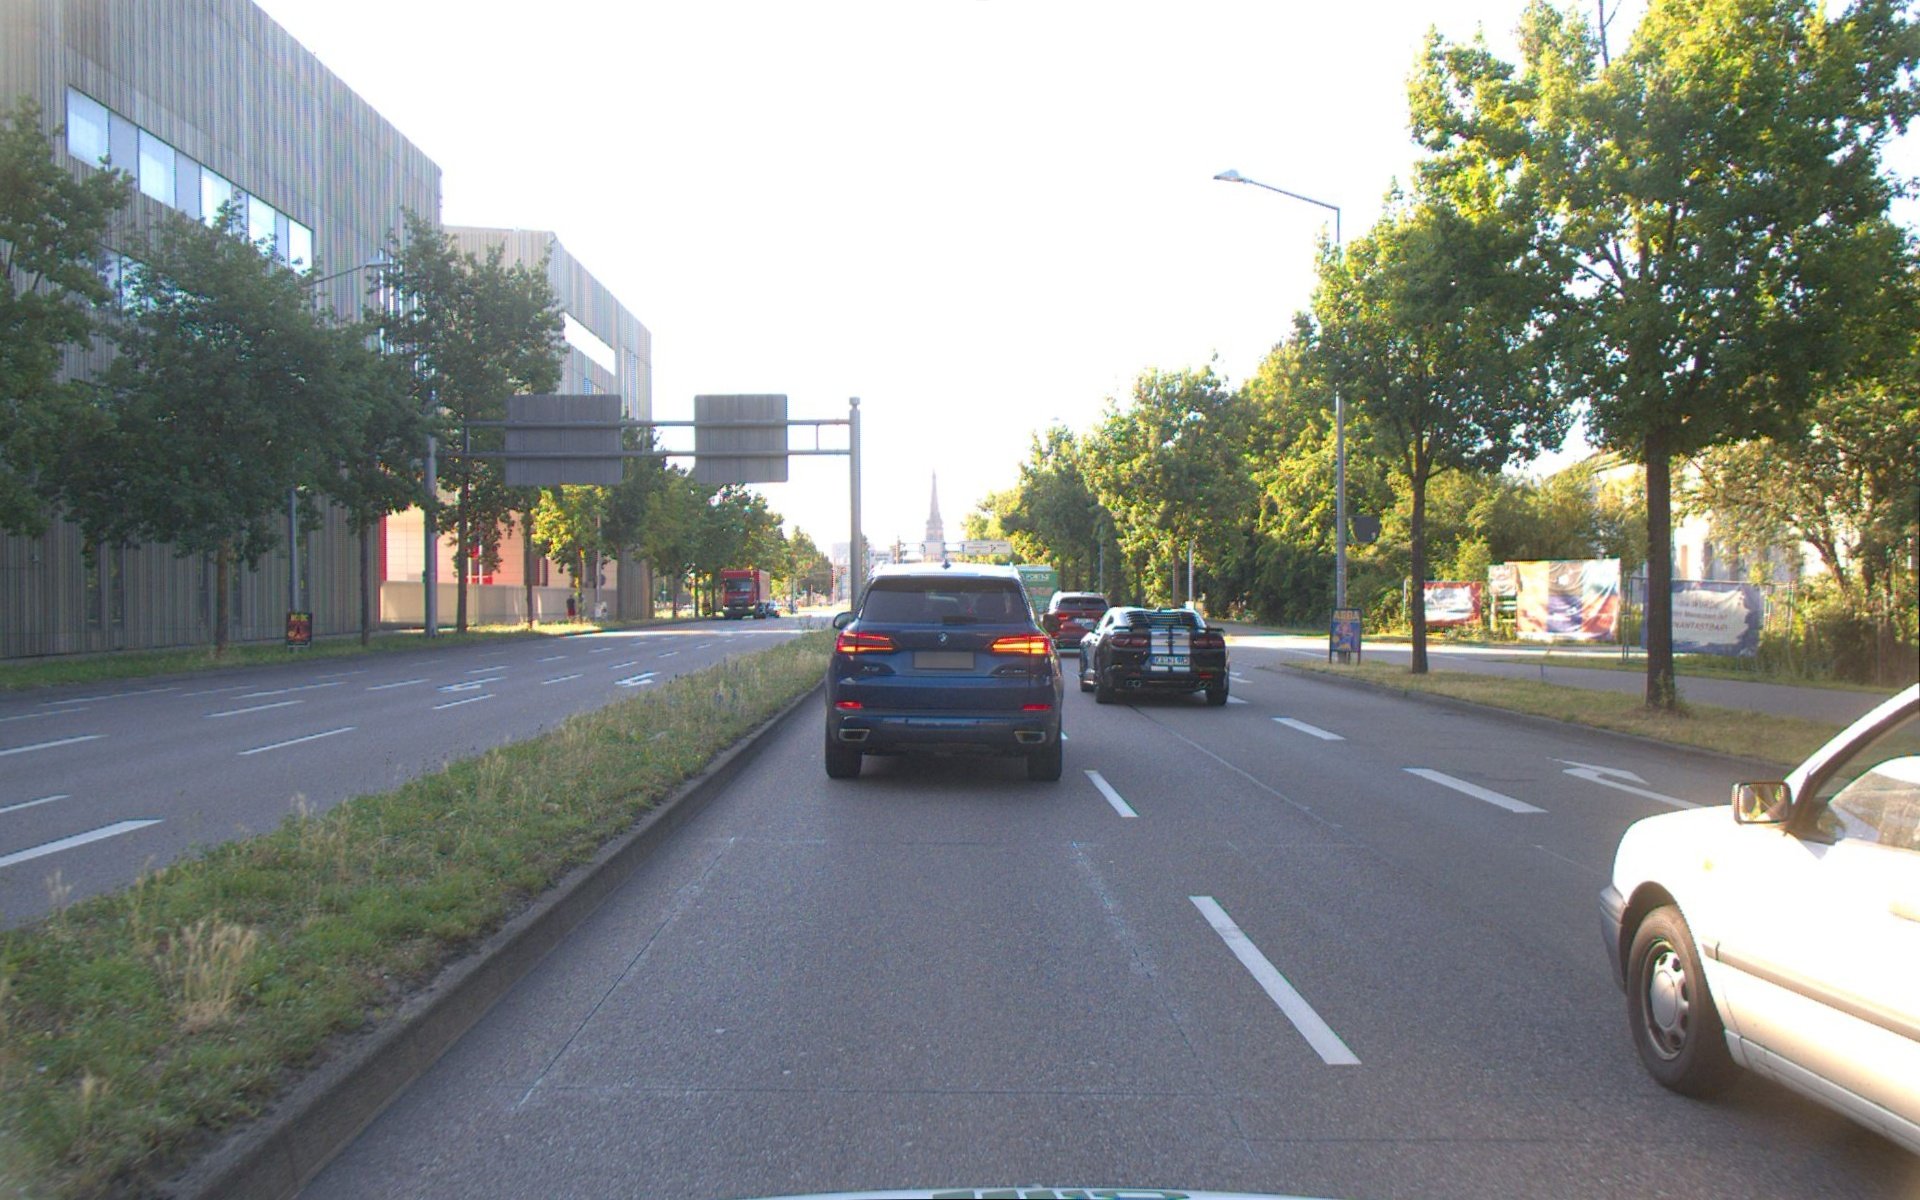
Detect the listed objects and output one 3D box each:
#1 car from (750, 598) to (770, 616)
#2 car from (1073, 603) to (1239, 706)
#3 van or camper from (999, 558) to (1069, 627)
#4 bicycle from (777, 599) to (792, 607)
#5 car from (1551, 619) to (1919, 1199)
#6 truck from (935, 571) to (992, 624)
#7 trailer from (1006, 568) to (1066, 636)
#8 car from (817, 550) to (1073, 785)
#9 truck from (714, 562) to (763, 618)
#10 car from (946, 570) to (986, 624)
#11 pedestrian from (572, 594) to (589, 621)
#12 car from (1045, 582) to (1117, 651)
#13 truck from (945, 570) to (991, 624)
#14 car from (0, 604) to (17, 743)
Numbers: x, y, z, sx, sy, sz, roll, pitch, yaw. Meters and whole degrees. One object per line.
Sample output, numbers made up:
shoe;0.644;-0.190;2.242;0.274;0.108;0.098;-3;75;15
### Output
car;-17.251;0.581;142.829;1.565;1.539;3.863;0;0;-5
car;2.786;0.735;24.494;1.816;1.361;4.624;1;0;-1
van or camper;2.991;-0.307;68.433;2.239;2.675;6.579;1;0;-3
bicycle;-23.813;0.383;224.181;1.868;1.037;0.505;1;-1;14
car;3.038;0.795;4.074;1.578;1.423;4.036;2;0;-2
truck;0.128;-0.108;85.508;2.529;2.602;6.246;-1;0;-4
trailer;2.831;0.069;62.335;2.047;2.442;3.500;1;0;-1
car;-0.113;0.538;14.870;1.915;1.757;4.699;1;-1;0
truck;-16.029;-0.733;120.233;2.939;3.878;10.079;0;0;-5
car;0.282;-0.137;83.298;1.953;2.630;3.999;-1;0;-1
pedestrian;-22.887;0.450;99.744;0.760;1.629;0.909;-1;0;0
car;3.061;0.421;42.169;1.710;1.649;3.821;-1;-1;3
truck;0.366;-0.155;84.972;2.175;2.697;4.772;0;0;-2
car;-11.241;0.834;15.710;1.808;1.498;4.815;-2;0;-1
